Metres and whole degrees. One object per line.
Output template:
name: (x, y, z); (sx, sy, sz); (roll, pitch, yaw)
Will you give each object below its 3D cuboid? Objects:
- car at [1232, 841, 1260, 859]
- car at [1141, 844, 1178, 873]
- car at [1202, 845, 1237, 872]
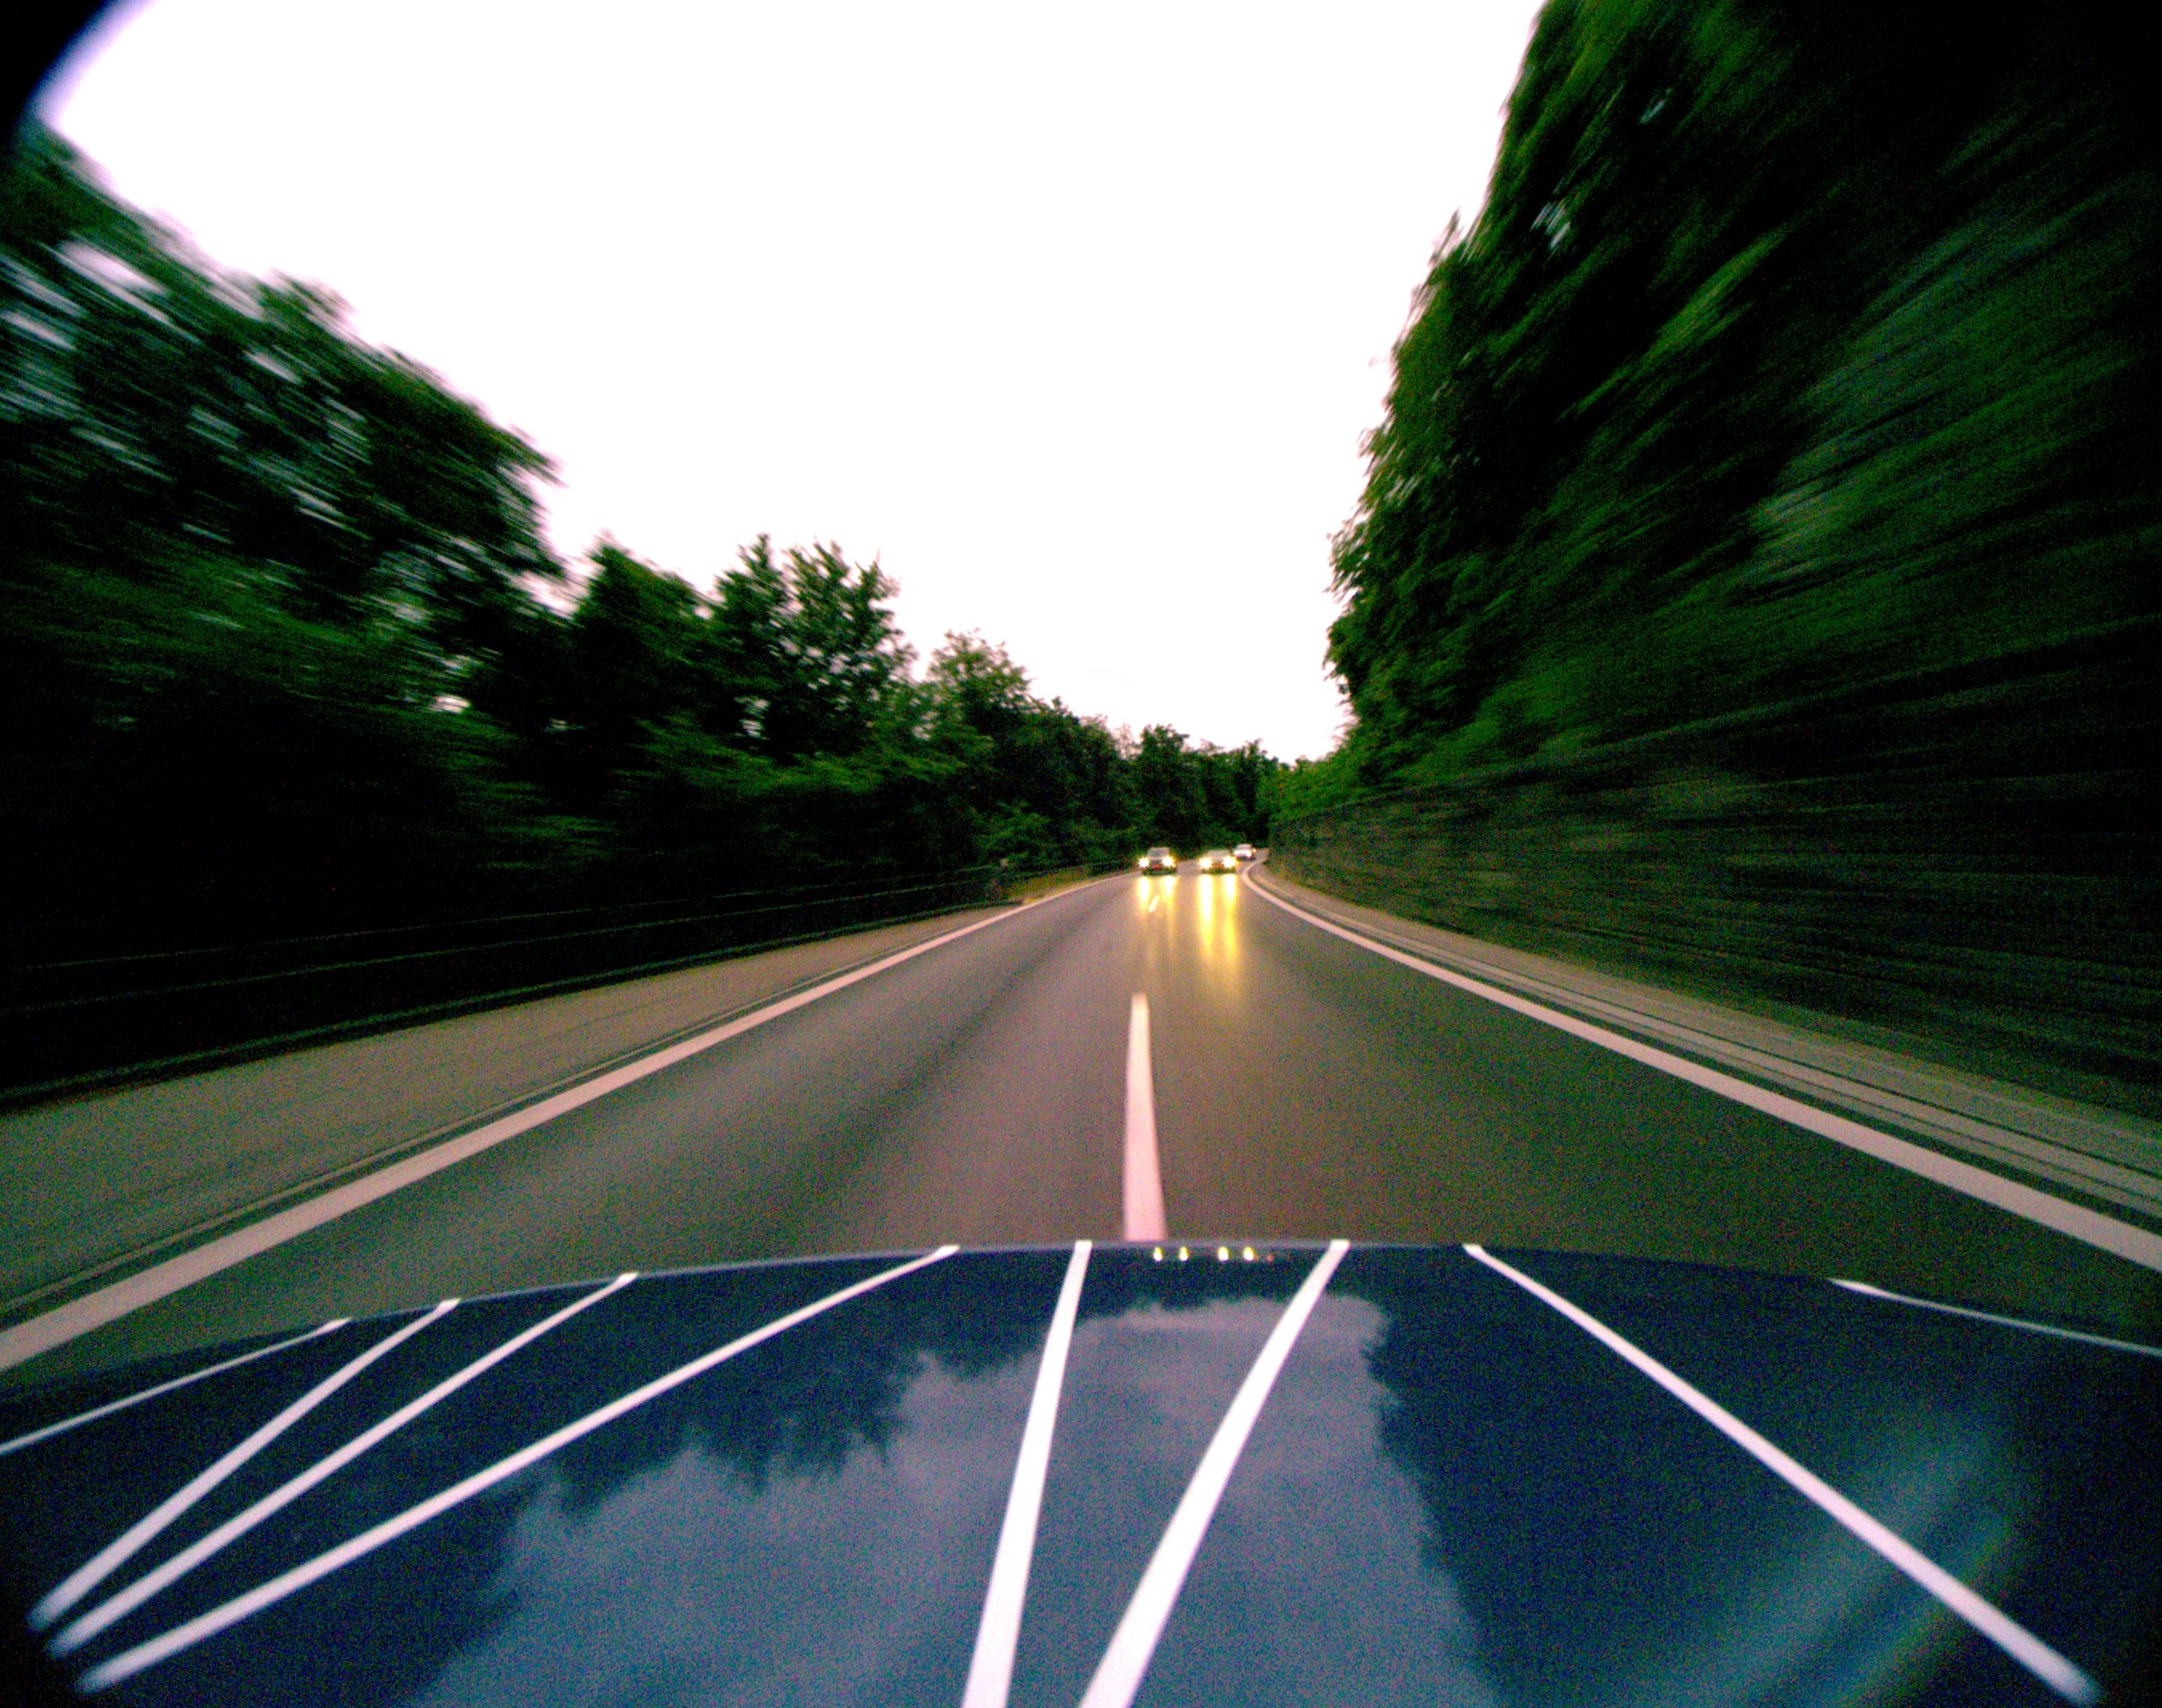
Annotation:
car: (15.604, -0.418, 71.729); (1.996, 1.499, 4.005); (-3, 1, 21)
car: (4.952, 0.251, 47.489); (1.997, 1.630, 4.002); (-3, 0, 10)
car: (8.305, 0.232, 45.753); (1.997, 1.499, 4.002); (0, 2, 10)
